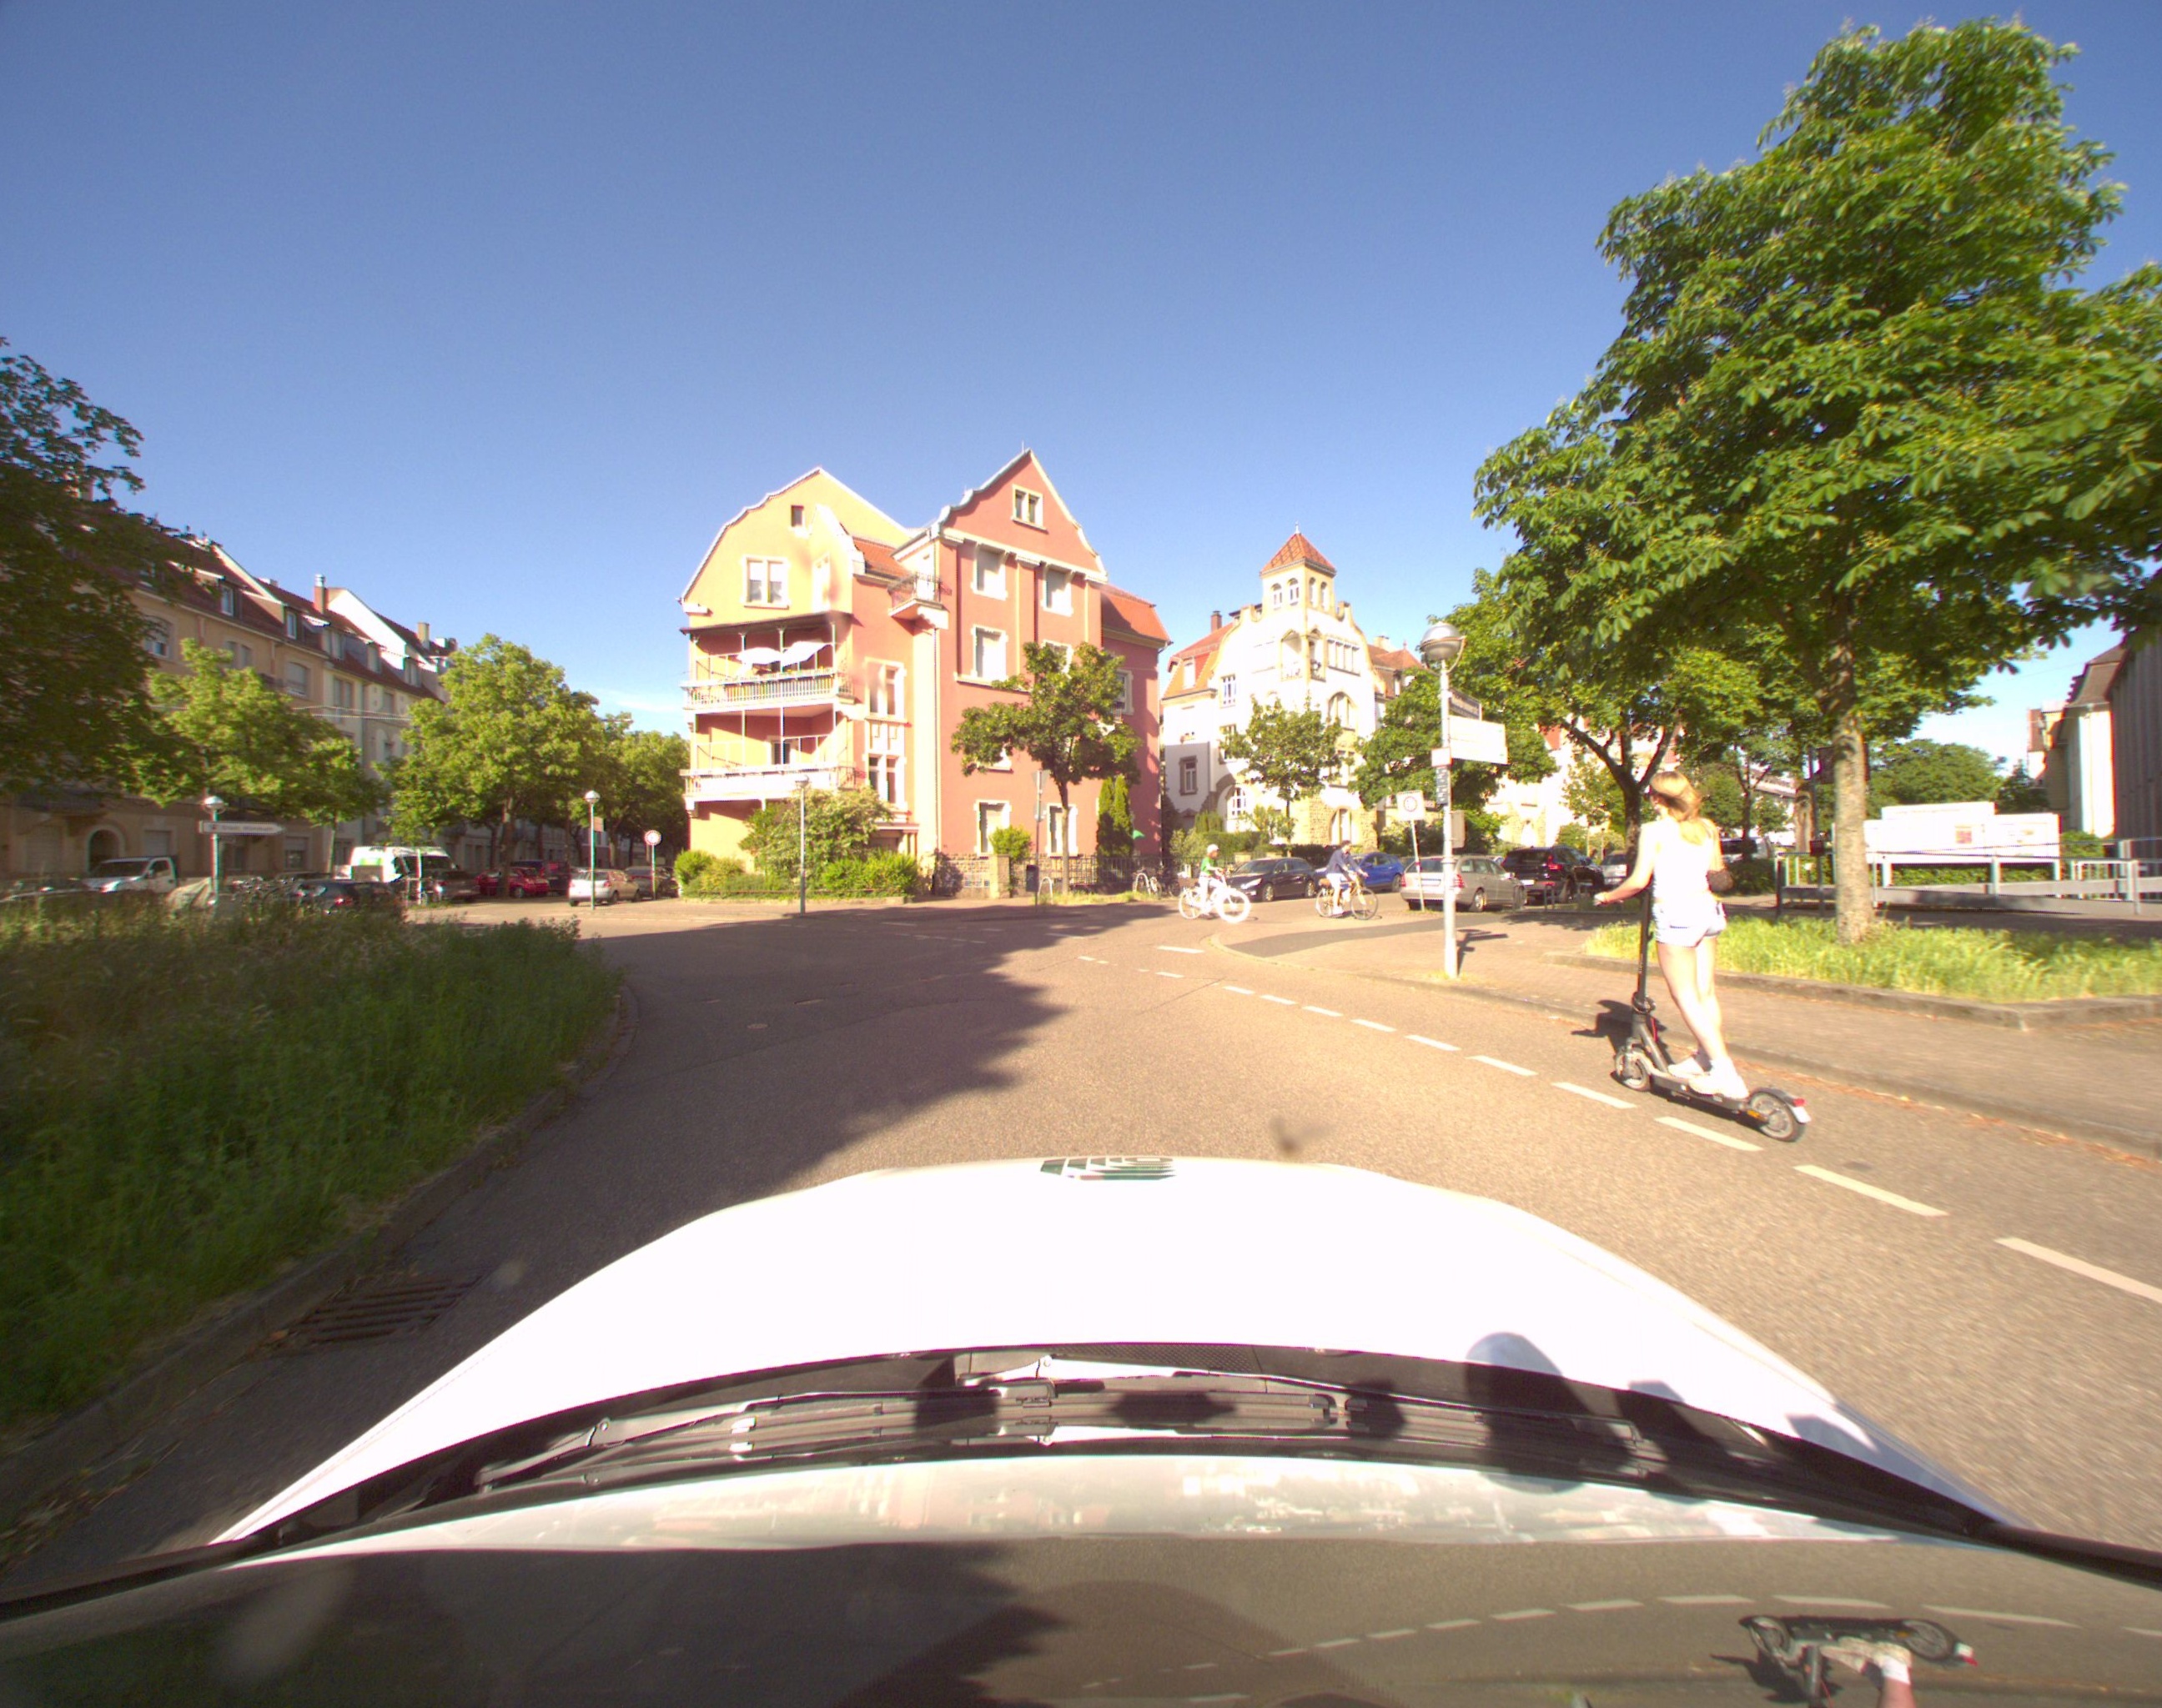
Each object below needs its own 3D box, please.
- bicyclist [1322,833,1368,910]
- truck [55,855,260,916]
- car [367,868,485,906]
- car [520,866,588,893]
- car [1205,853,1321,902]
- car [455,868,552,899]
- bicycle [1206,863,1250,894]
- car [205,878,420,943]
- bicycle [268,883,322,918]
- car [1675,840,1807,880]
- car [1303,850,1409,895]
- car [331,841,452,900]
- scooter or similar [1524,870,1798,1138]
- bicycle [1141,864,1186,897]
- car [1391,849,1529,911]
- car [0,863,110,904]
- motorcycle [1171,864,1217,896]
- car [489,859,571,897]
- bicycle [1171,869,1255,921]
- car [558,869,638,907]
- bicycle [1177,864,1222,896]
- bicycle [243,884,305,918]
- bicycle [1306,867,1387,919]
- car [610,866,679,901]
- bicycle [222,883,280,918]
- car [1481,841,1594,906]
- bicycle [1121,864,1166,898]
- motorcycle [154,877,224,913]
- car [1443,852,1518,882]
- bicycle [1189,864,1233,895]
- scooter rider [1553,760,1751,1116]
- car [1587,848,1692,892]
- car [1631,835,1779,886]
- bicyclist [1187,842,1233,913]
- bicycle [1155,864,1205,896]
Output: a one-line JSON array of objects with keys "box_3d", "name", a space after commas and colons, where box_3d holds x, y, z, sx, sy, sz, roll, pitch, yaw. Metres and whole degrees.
[{"box_3d": [5.968, 0.396, 18.431, 0.648, 1.715, 0.715, 0, -2, -34], "name": "bicyclist"}, {"box_3d": [-38.911, 1.228, 34.697, 2.133, 2.292, 6.596, -2, 0, -11], "name": "truck"}, {"box_3d": [-27.138, 1.339, 33.770, 3.882, 1.447, 1.694, 0, -1, 13], "name": "car"}, {"box_3d": [-29.651, 1.424, 45.792, 3.342, 1.470, 1.698, 0, -1, 26], "name": "car"}, {"box_3d": [6.307, 0.774, 27.939, 1.787, 1.484, 4.364, -5, -3, 45], "name": "car"}, {"box_3d": [-27.558, 1.395, 38.928, 3.360, 1.447, 1.689, 0, -1, 2], "name": "car"}, {"box_3d": [5.686, 0.935, 31.647, 0.519, 1.107, 1.706, 0, 1, -43], "name": "bicycle"}, {"box_3d": [-19.514, 1.386, 20.764, 3.963, 1.418, 1.876, 0, 2, 9], "name": "car"}, {"box_3d": [-27.554, 1.617, 28.590, 0.498, 1.102, 1.645, 0, 0, -9], "name": "bicycle"}, {"box_3d": [31.965, 0.292, 39.569, 1.819, 1.841, 4.723, 0, 0, -41], "name": "car"}, {"box_3d": [10.699, 0.681, 31.542, 4.422, 1.562, 1.788, -1, -3, -41], "name": "car"}, {"box_3d": [-32.102, 0.732, 37.851, 6.295, 2.600, 2.116, 0, -1, 28], "name": "car"}, {"box_3d": [3.185, 0.742, 4.581, 0.631, 1.283, 1.101, -1, -1, -13], "name": "scooter or similar"}, {"box_3d": [2.959, 0.941, 29.245, 0.549, 1.115, 1.707, 0, 1, -40], "name": "bicycle"}, {"box_3d": [9.714, 0.589, 20.710, 4.364, 1.416, 1.787, 0, 0, -45], "name": "car"}, {"box_3d": [-37.576, 1.029, 29.140, 1.686, 1.390, 3.901, -2, 0, -15], "name": "car"}, {"box_3d": [4.154, 0.962, 30.130, 1.705, 1.107, 0.504, 1, 1, 43], "name": "motorcycle"}, {"box_3d": [-27.940, 1.202, 41.326, 3.346, 1.865, 1.695, 0, -1, 17], "name": "car"}, {"box_3d": [2.962, 0.920, 18.464, 1.840, 1.108, 0.599, -3, -2, 45], "name": "bicycle"}, {"box_3d": [-19.602, 1.360, 33.207, 1.684, 1.447, 3.531, 1, -1, -12], "name": "car"}, {"box_3d": [4.447, 0.962, 30.642, 1.705, 1.107, 0.504, 1, 1, 43], "name": "bicycle"}, {"box_3d": [-28.200, 1.621, 28.500, 0.655, 1.088, 1.723, 0, 0, -10], "name": "bicycle"}, {"box_3d": [5.978, 0.860, 18.416, 0.648, 1.108, 1.699, 0, -2, -33], "name": "bicycle"}, {"box_3d": [-20.366, 1.333, 38.189, 1.684, 1.562, 4.277, 1, -1, -12], "name": "car"}, {"box_3d": [-28.901, 1.607, 28.383, 0.587, 1.127, 1.596, 0, 0, -10], "name": "bicycle"}, {"box_3d": [13.543, 0.518, 24.062, 4.364, 1.728, 1.787, 0, 0, -45], "name": "car"}, {"box_3d": [2.173, 0.929, 28.622, 0.549, 1.115, 1.707, 0, 1, -40], "name": "bicycle"}, {"box_3d": [-31.493, 1.443, 28.774, 1.704, 1.270, 0.537, 0, 0, -7], "name": "motorcycle"}, {"box_3d": [20.530, 0.650, 41.784, 4.422, 1.397, 1.788, -1, -3, -41], "name": "car"}, {"box_3d": [4.970, 0.958, 31.098, 0.504, 1.107, 1.706, 0, 1, -43], "name": "bicycle"}, {"box_3d": [3.184, 0.430, 4.583, 0.624, 1.832, 0.629, -1, -1, -13], "name": "scooter rider"}, {"box_3d": [19.874, 0.520, 28.927, 4.358, 1.474, 1.789, 0, 0, -37], "name": "car"}, {"box_3d": [26.100, 0.252, 34.179, 1.820, 2.001, 4.720, 0, 0, -44], "name": "car"}, {"box_3d": [2.927, 0.529, 18.499, 0.794, 1.581, 0.599, -3, -2, 45], "name": "bicyclist"}, {"box_3d": [3.603, 0.935, 29.709, 1.806, 1.107, 0.504, 1, 1, 34], "name": "bicycle"}]
